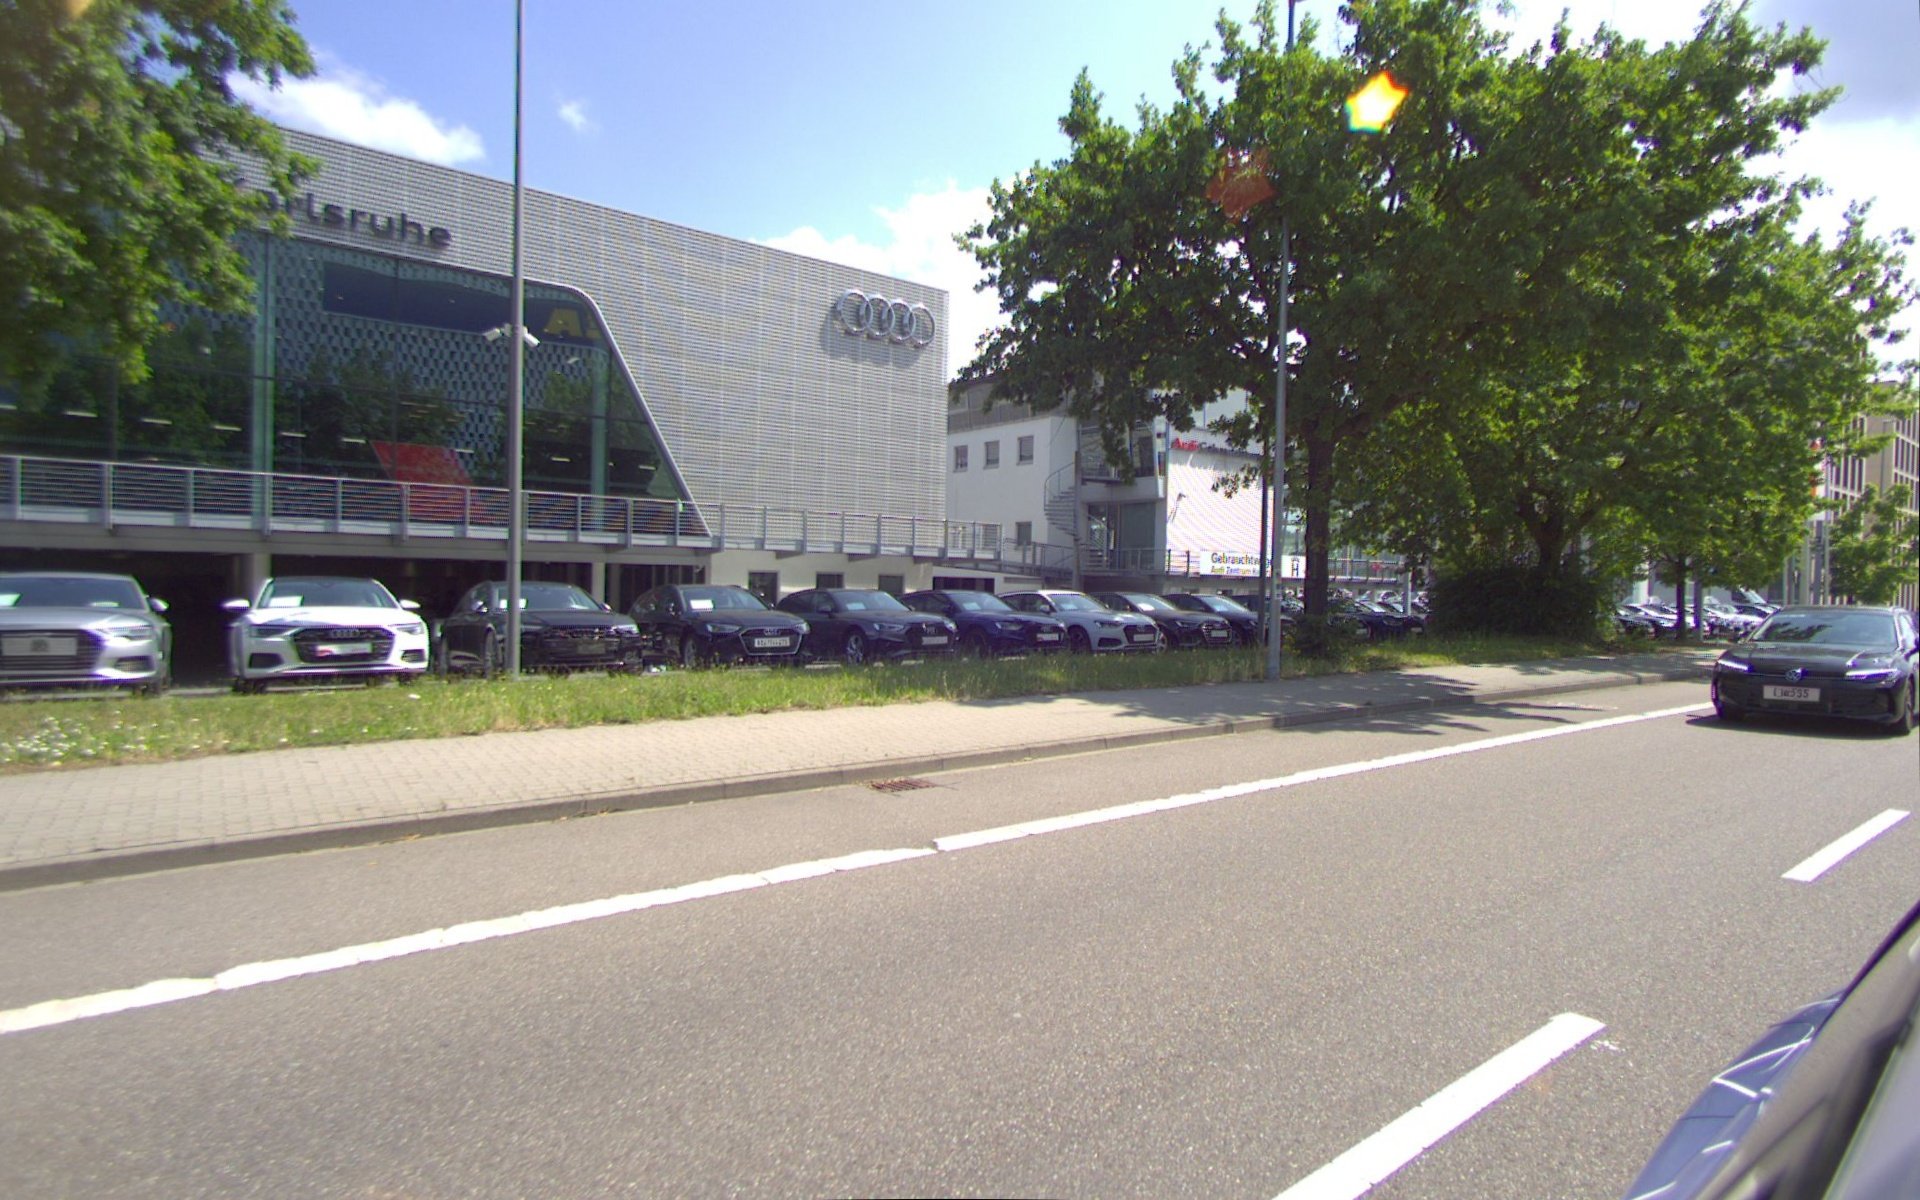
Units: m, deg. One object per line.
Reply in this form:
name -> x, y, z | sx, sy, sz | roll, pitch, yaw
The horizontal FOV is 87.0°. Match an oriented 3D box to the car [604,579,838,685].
car -> -3.925, 0.422, 16.019 | 1.872, 1.423, 4.587 | 2, -1, -37

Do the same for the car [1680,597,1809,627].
car -> 37.843, 0.568, 48.922 | 1.872, 1.314, 4.587 | 2, -1, -37

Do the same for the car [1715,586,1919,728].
car -> 11.654, 0.653, 13.206 | 5.112, 1.496, 1.812 | 2, 0, -41

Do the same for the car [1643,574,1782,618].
car -> 48.112, -0.270, 64.943 | 2.097, 2.640, 6.870 | 2, -1, -30

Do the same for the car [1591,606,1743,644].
car -> 27.947, 0.968, 40.113 | 1.872, 1.314, 4.587 | 2, -1, -37

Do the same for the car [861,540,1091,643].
car -> 0.167, -0.153, 19.121 | 1.872, 1.699, 4.587 | 2, -1, -37

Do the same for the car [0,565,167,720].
car -> -9.997, 0.345, 11.249 | 1.784, 1.421, 4.119 | 0, 2, -37

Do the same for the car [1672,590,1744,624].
car -> 41.194, 0.377, 55.709 | 4.503, 1.699, 1.907 | 2, -1, -36

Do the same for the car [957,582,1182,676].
car -> 2.096, 0.522, 20.599 | 1.872, 1.699, 4.587 | 2, -1, -37

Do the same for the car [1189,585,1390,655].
car -> 8.227, 0.441, 25.653 | 1.872, 1.517, 4.588 | 0, 2, -37

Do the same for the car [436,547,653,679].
car -> -5.995, 0.317, 14.304 | 1.753, 1.533, 4.356 | 2, -6, -37

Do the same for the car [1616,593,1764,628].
car -> 29.940, 0.408, 41.641 | 1.872, 1.314, 4.587 | 2, -1, -37

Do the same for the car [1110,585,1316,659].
car -> 5.915, 0.447, 24.166 | 1.872, 1.517, 4.588 | 0, 2, -37

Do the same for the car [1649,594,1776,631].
car -> 31.976, 0.570, 43.086 | 1.763, 1.483, 3.996 | 0, -2, -37

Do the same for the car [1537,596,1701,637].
car -> 23.813, 0.640, 36.721 | 1.872, 1.314, 4.585 | 2, -4, -37

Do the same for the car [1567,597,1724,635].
car -> 26.012, 0.585, 38.544 | 1.872, 1.314, 4.587 | 2, -1, -37

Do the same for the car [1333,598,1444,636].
car -> 19.620, 0.733, 46.472 | 1.872, 1.517, 4.359 | 0, 2, -37

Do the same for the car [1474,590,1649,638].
car -> 19.734, 0.515, 33.391 | 1.872, 1.423, 4.585 | 2, -3, -37

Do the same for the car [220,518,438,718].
car -> -8.171, 0.177, 12.900 | 1.872, 2.075, 4.587 | 3, -1, -37

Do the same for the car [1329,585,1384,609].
car -> 31.550, -0.235, 80.486 | 4.503, 1.699, 1.907 | 2, -1, -36

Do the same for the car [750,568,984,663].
car -> -1.754, 0.226, 17.572 | 1.872, 1.423, 4.587 | 2, -1, -37

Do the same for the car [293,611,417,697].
car -> -13.420, 1.096, 22.319 | 1.872, 1.517, 4.359 | 0, 2, -37

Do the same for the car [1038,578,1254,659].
car -> 3.933, 0.328, 22.126 | 1.872, 1.517, 4.588 | 0, 2, -37

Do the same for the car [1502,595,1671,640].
car -> 21.479, 0.618, 34.864 | 1.872, 1.402, 4.586 | 2, -2, -37

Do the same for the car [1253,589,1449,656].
car -> 10.355, 0.531, 27.109 | 1.872, 1.517, 4.588 | 0, 2, -37
